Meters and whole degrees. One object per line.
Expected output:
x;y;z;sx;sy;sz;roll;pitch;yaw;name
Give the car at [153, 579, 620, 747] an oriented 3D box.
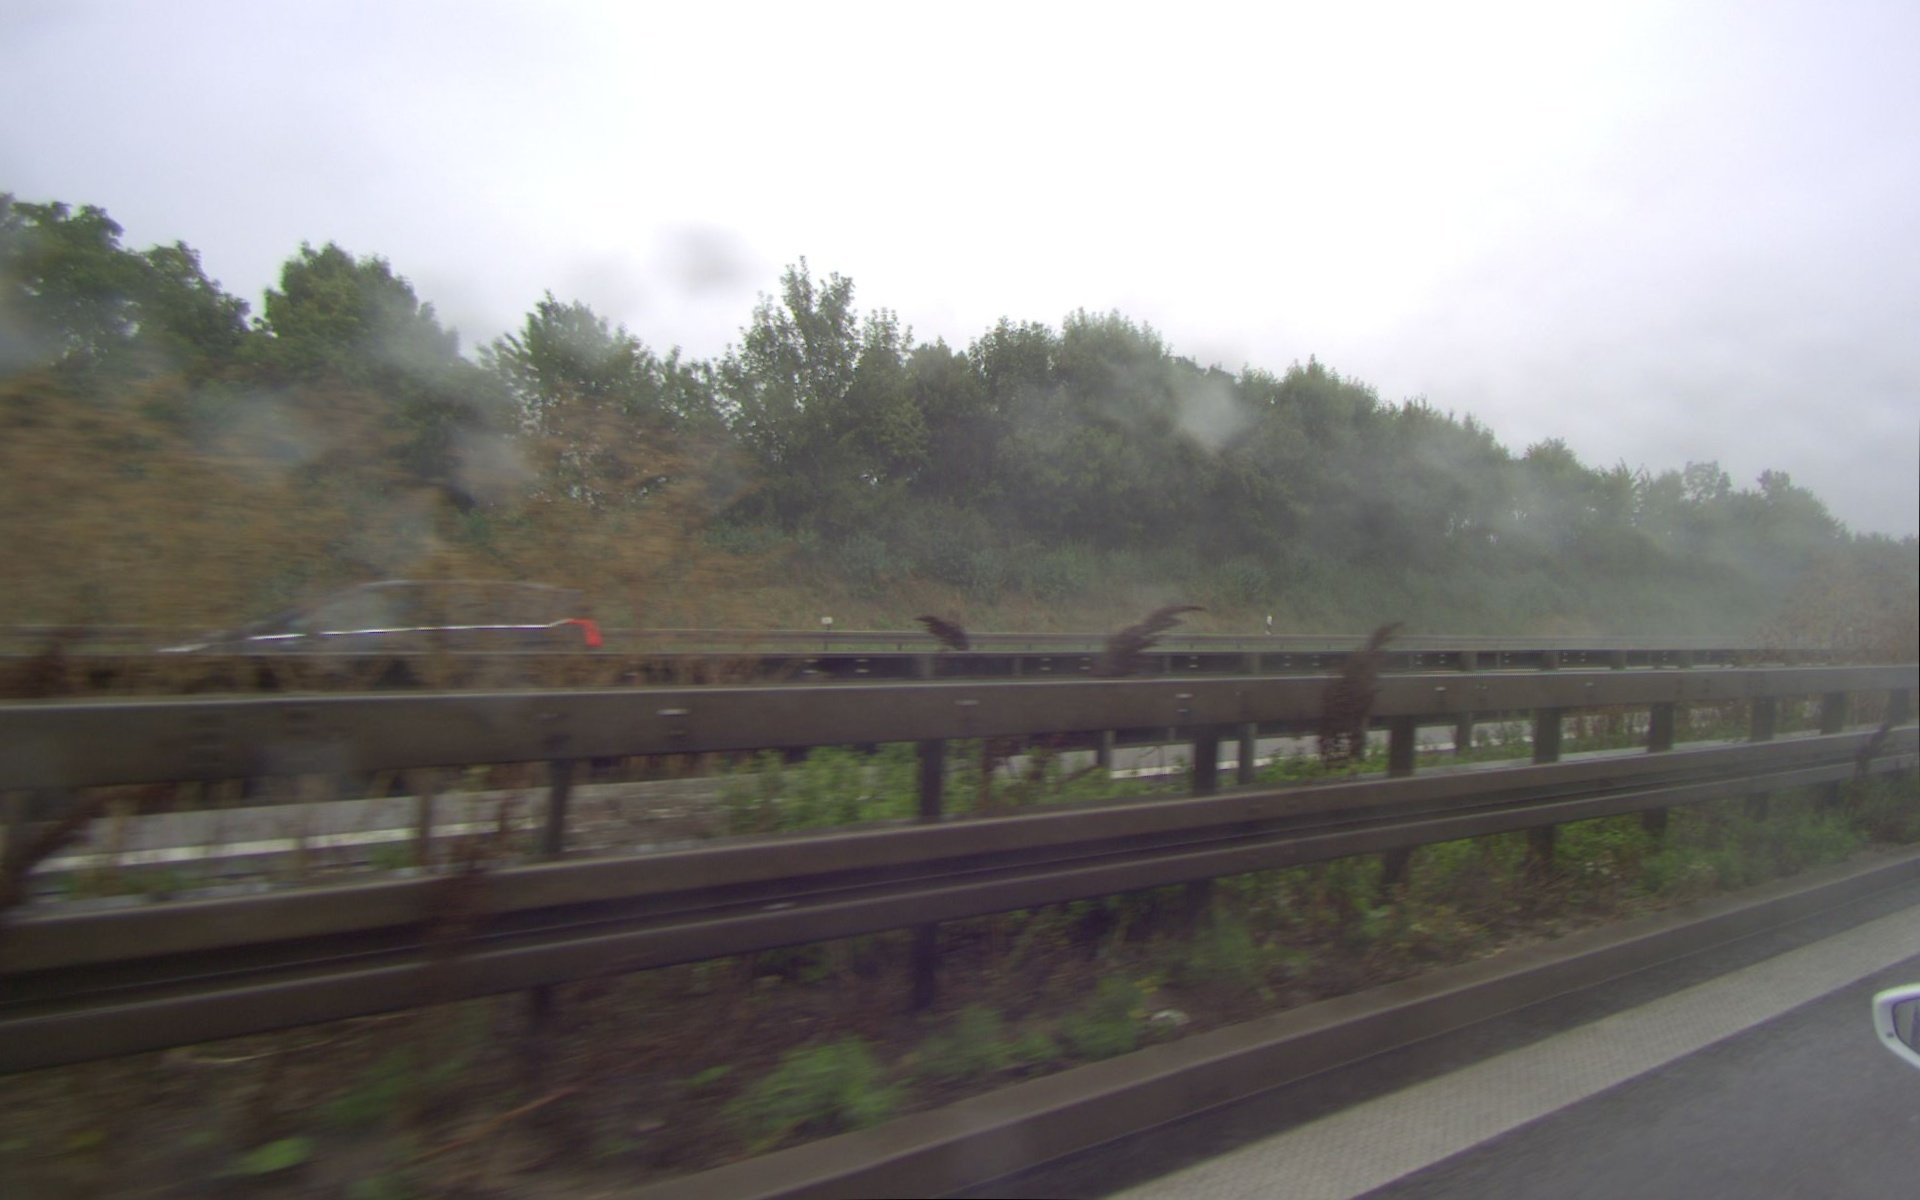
-5.894;0.582;10.724;3.954;1.483;1.983;2;0;-31;car
